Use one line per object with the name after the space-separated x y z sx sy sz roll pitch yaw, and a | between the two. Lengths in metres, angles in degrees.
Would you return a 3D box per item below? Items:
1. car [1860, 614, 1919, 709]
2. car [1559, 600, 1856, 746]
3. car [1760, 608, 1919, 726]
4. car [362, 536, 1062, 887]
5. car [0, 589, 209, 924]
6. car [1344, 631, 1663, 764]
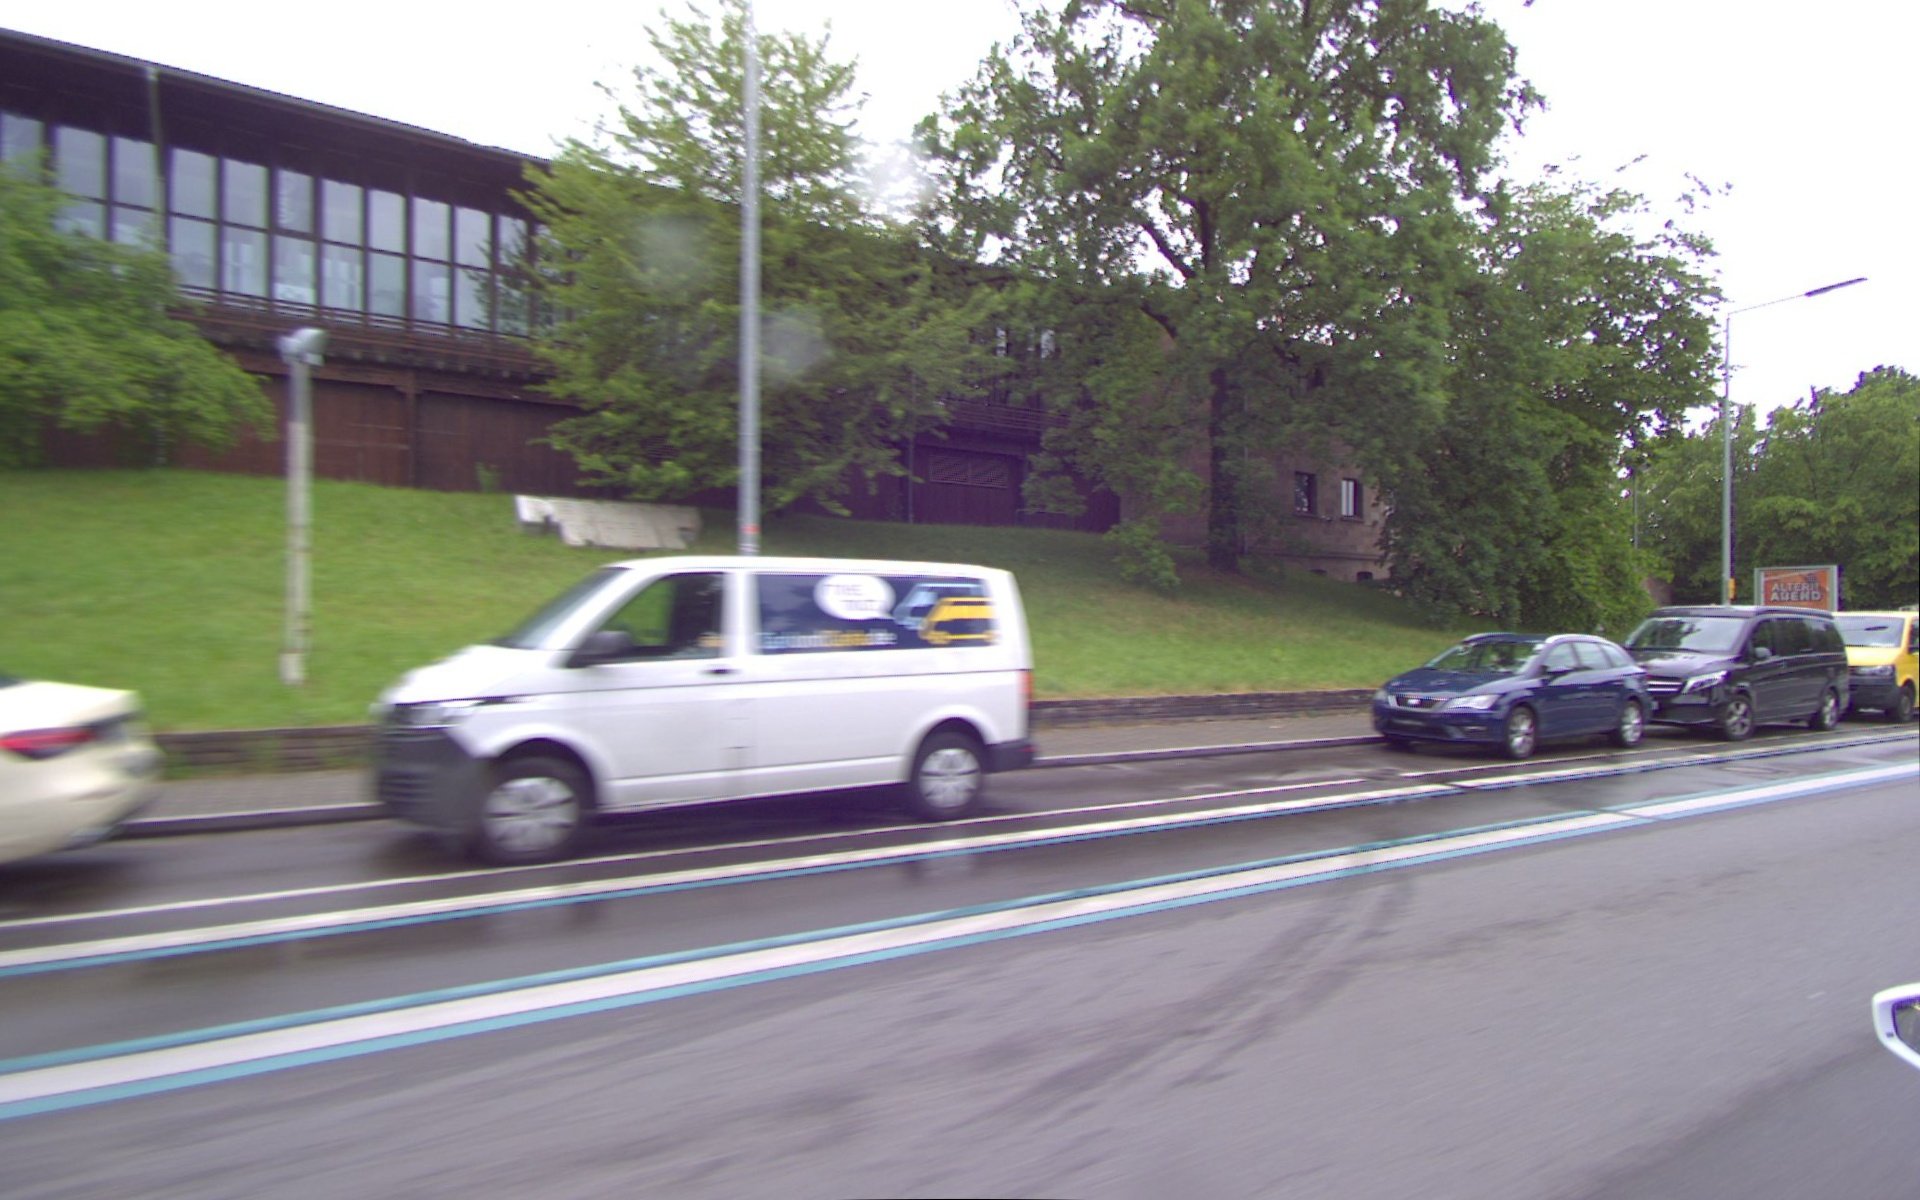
21.363 1.277 21.570 4.008 1.918 1.980 0 0 -31 | car
11.787 1.001 15.747 5.083 1.972 1.980 0 0 -31 | car
17.141 1.139 18.843 4.771 1.971 1.873 0 0 -32 | car
-1.731 0.642 7.695 4.871 1.957 1.903 0 0 -31 | car
-6.829 0.732 4.793 4.924 1.627 1.982 1 -1 -29 | car
7.114 1.141 13.041 4.320 1.409 1.722 0 0 -31 | car
